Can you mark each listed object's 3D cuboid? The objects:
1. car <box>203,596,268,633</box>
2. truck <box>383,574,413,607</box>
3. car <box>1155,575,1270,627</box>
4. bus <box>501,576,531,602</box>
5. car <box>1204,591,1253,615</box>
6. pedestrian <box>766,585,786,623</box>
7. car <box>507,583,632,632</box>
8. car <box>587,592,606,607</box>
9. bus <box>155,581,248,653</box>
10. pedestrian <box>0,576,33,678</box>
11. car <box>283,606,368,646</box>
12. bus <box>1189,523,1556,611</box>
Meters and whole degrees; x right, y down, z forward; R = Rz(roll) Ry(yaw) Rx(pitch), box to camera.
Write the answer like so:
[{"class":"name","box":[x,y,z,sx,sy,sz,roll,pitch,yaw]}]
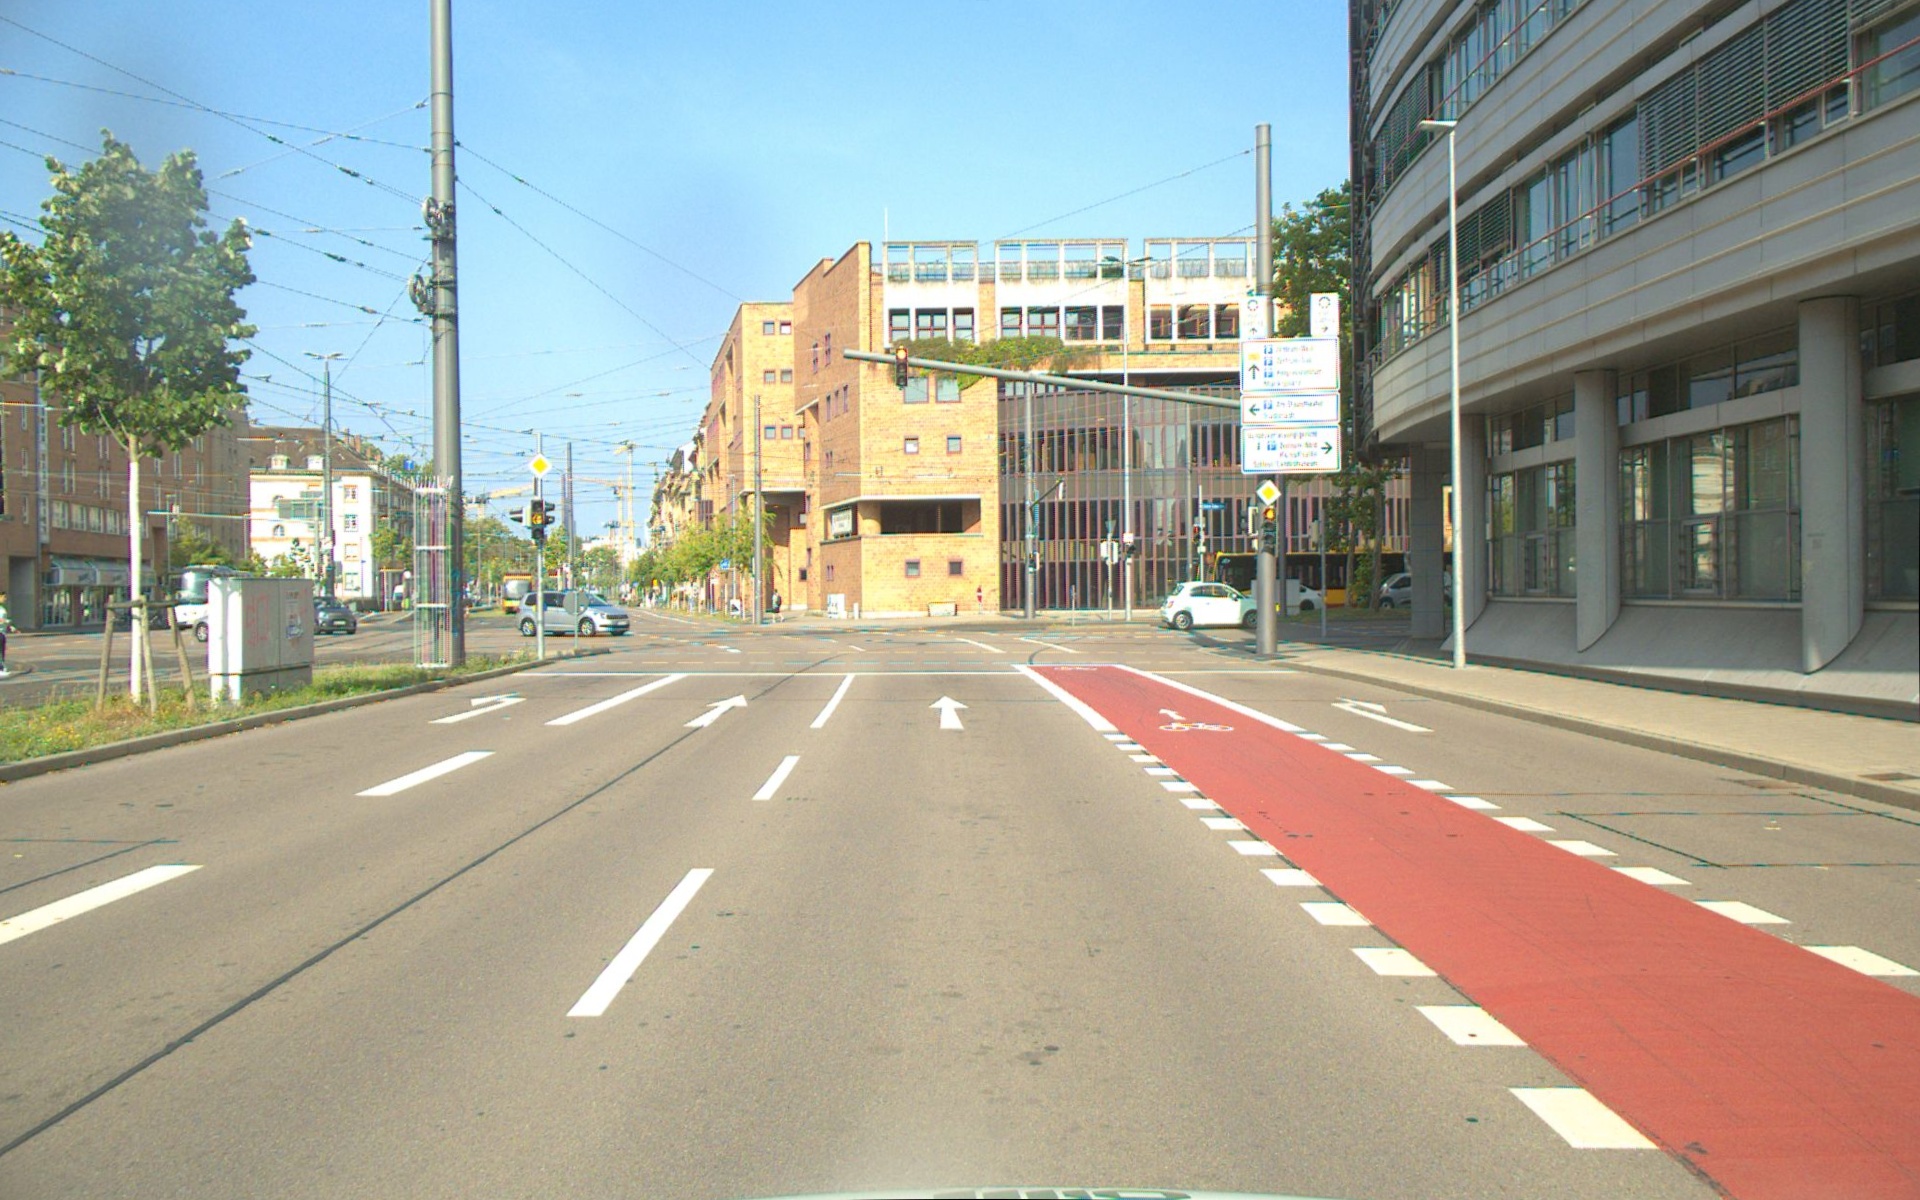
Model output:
[{"class":"car","box":[-33.591,0.669,76.634,1.969,1.664,4.360,-1,0,-35]},{"class":"truck","box":[-47.870,-0.847,140.948,1.959,2.643,4.725,-1,2,-13]},{"class":"car","box":[8.126,0.042,53.314,3.368,1.569,1.734,-1,-1,-3]},{"class":"bus","box":[-36.217,-0.858,134.763,1.965,2.049,3.975,-1,0,-21]},{"class":"car","box":[11.787,0.135,72.711,1.913,0.975,1.093,1,-2,-4]},{"class":"pedestrian","box":[-10.073,0.221,90.545,0.823,2.049,0.811,-1,0,13]},{"class":"car","box":[-13.912,0.260,58.877,4.294,1.663,1.688,0,2,28]},{"class":"car","box":[-41.624,-0.075,189.268,2.038,1.569,4.398,-1,-1,-14]},{"class":"bus","box":[-44.726,1.063,97.937,2.700,3.990,12.171,-1,-1,-14]},{"class":"pedestrian","box":[-19.555,0.555,33.495,1.134,2.049,0.775,-1,-1,-8]},{"class":"car","box":[-25.641,1.050,66.821,3.536,1.518,1.694,-2,0,40]},{"class":"bus","box":[19.535,-1.578,78.232,17.298,3.877,2.856,-1,-1,-12]}]
